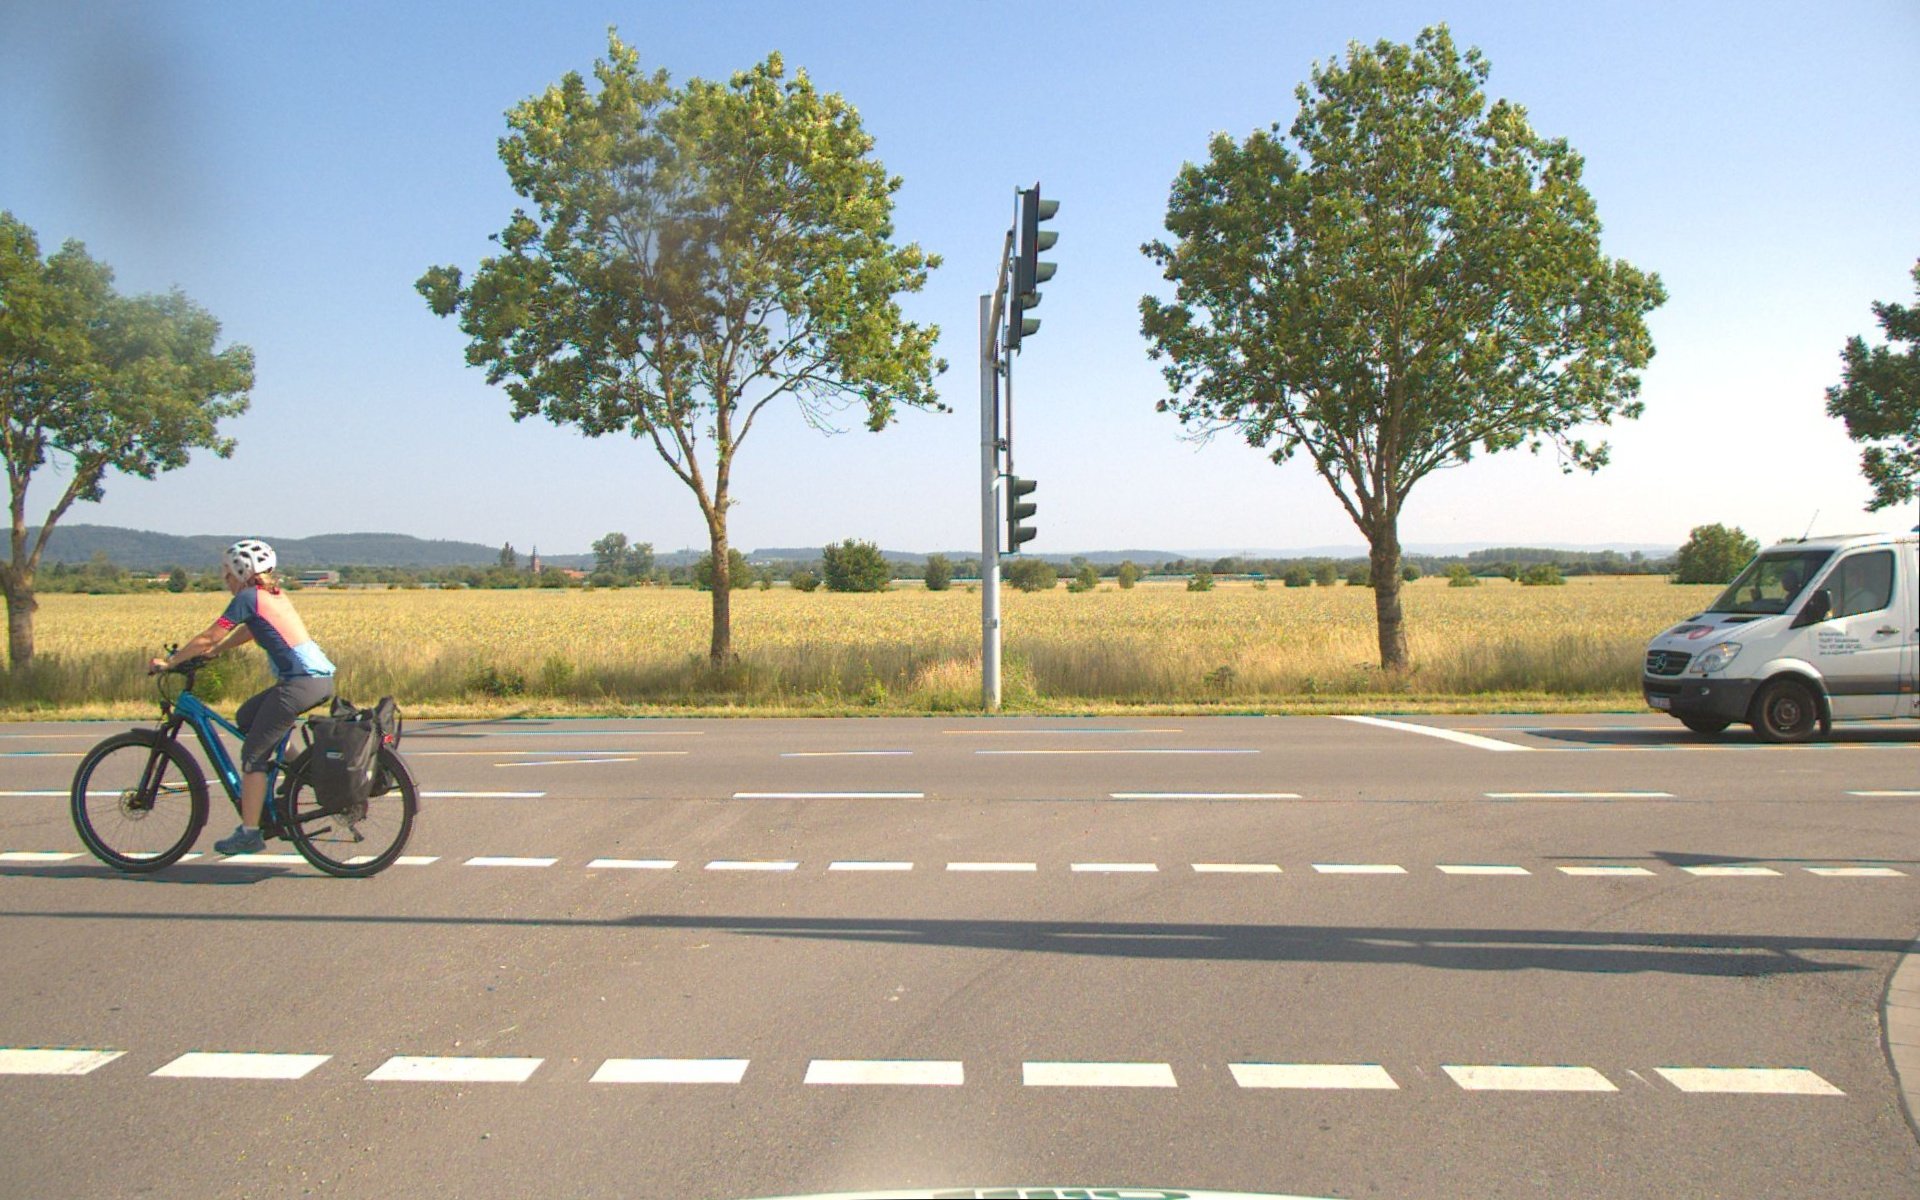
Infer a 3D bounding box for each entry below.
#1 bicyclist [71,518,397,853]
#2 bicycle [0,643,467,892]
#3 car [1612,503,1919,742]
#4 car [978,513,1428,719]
[{"bbox_3d":[-3.748,0.408,8.681,1.254,1.629,1.164,0,1,-6],"label":"bicyclist"},{"bbox_3d":[-3.752,0.831,8.630,2.114,1.207,0.889,0,-1,-6],"label":"bicycle"},{"bbox_3d":[10.788,0.217,18.941,5.838,2.536,1.999,-1,-1,-3],"label":"car"},{"bbox_3d":[3.286,0.242,23.080,5.779,2.622,2.389,1,-1,-7],"label":"car"}]
